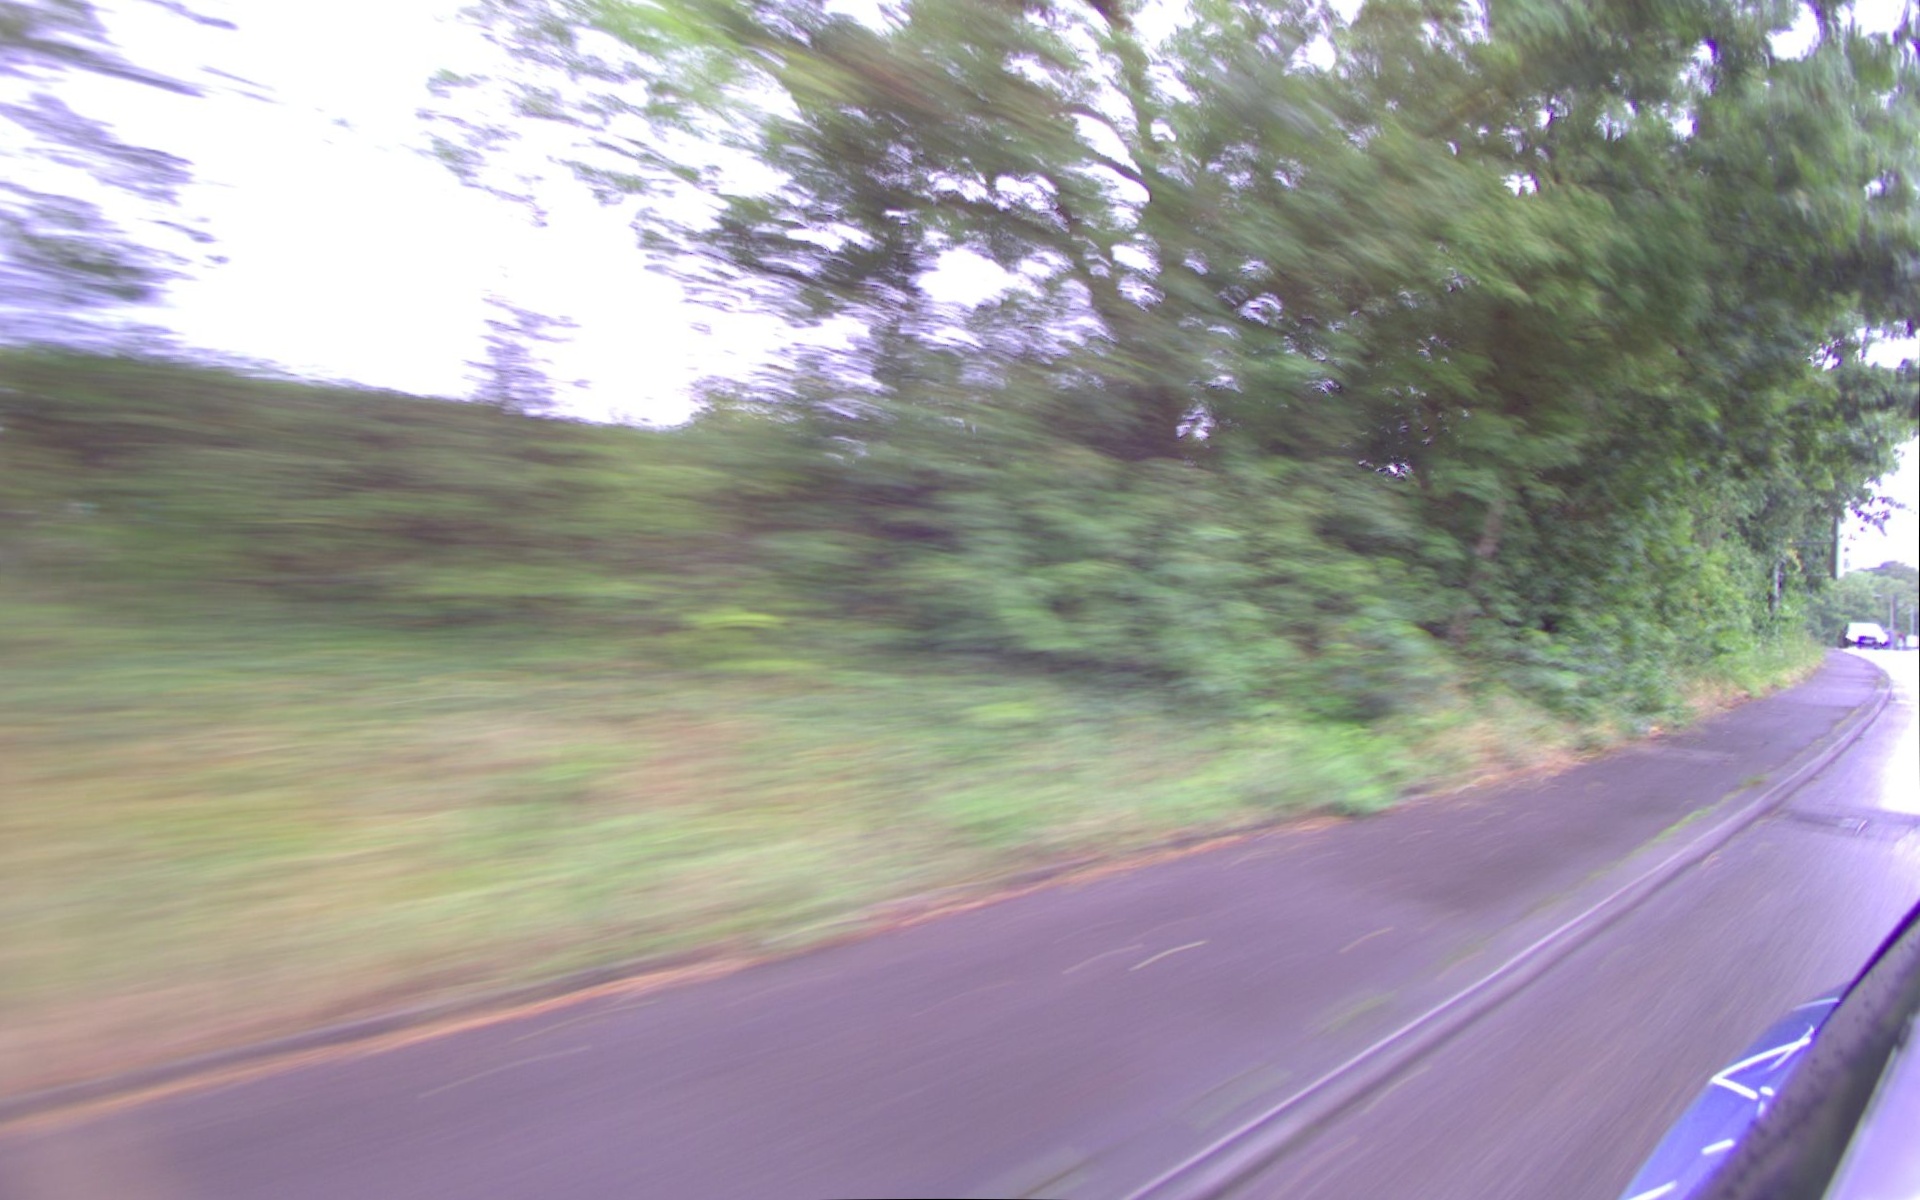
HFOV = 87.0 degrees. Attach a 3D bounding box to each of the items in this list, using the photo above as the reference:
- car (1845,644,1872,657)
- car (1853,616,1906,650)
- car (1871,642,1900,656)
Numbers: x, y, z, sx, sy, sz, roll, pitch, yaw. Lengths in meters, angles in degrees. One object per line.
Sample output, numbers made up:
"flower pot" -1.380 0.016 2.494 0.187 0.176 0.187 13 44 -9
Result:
"car" 107.007 5.993 120.596 1.694 1.445 4.031 3 0 32
"car" 49.844 1.815 54.837 1.994 1.606 3.936 4 0 44
"car" 99.256 5.223 108.551 1.625 1.412 3.952 2 -1 33
